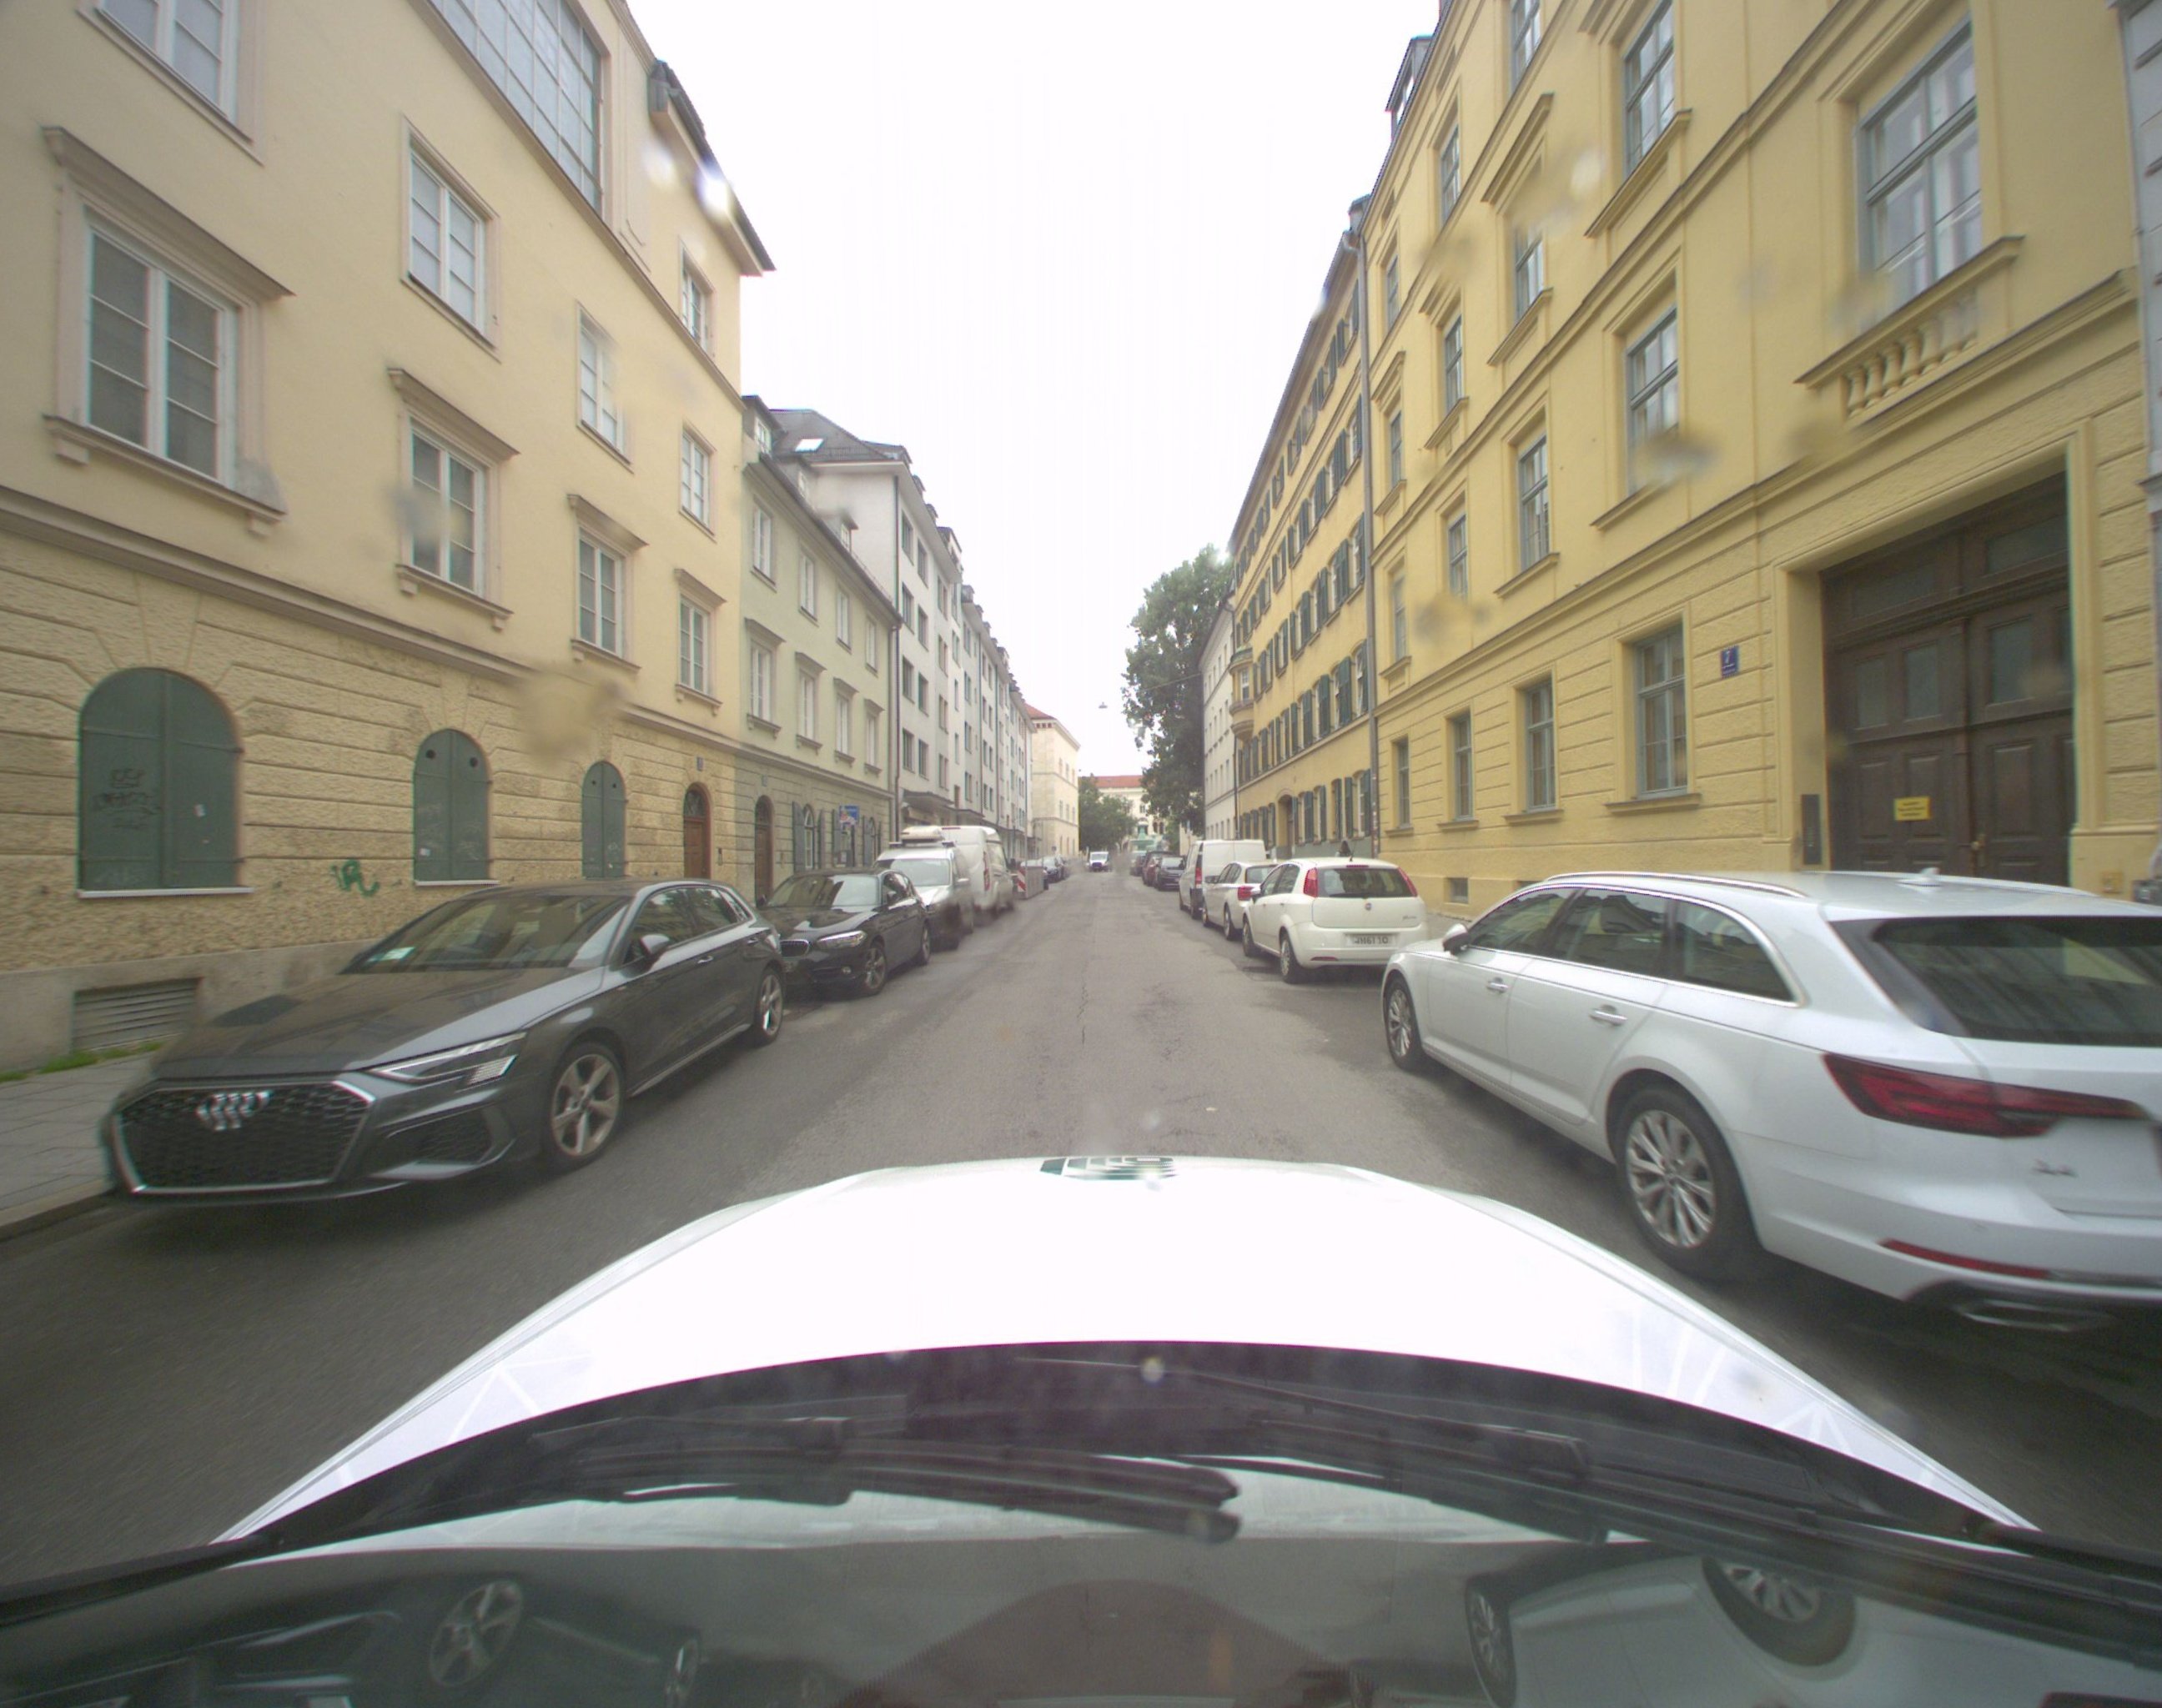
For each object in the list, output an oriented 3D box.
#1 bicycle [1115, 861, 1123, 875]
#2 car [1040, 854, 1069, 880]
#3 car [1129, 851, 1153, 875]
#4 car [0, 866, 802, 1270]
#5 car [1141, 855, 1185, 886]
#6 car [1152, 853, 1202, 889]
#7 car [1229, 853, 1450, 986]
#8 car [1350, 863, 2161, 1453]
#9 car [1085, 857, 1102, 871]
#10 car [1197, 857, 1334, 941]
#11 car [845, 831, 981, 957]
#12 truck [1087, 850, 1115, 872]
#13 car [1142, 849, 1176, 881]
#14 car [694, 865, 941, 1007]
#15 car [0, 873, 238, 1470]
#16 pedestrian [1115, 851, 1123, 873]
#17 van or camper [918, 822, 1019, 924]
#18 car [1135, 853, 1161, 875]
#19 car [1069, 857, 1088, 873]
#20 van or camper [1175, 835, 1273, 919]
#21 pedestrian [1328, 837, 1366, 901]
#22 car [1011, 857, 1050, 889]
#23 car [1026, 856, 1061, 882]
[{"bbox_3d":[3.061,1.095,65.541,0.673,1.095,1.761,-1,-1,3],"label":"bicycle"},{"bbox_3d":[-1.740,0.874,54.641,1.700,1.609,3.863,-2,0,1],"label":"car"},{"bbox_3d":[4.964,0.719,67.732,1.844,1.919,4.772,-1,-1,3],"label":"car"},{"bbox_3d":[-3.392,0.862,5.265,1.811,1.441,4.129,-2,0,-2],"label":"car"},{"bbox_3d":[4.074,0.806,40.933,1.806,1.425,4.246,0,0,0],"label":"car"},{"bbox_3d":[4.114,0.715,35.424,1.805,1.465,4.248,0,0,2],"label":"car"},{"bbox_3d":[3.233,0.732,11.062,1.702,1.454,4.096,0,0,0],"label":"car"},{"bbox_3d":[3.018,0.774,4.402,1.701,1.408,4.817,0,0,2],"label":"car"},{"bbox_3d":[1.523,1.220,97.154,1.699,1.581,3.867,-2,0,4],"label":"car"},{"bbox_3d":[3.398,0.770,15.778,1.702,1.392,4.206,0,0,0],"label":"car"},{"bbox_3d":[-2.974,0.654,15.367,1.750,1.995,4.621,0,0,-2],"label":"car"},{"bbox_3d":[2.257,0.807,89.468,2.108,2.247,6.201,-1,-1,10],"label":"truck"},{"bbox_3d":[4.544,0.632,47.864,1.804,1.797,4.249,0,-1,3],"label":"car"},{"bbox_3d":[-3.043,0.860,10.359,1.748,1.409,4.103,0,0,1],"label":"car"},{"bbox_3d":[-3.593,0.804,0.518,1.749,1.496,4.199,0,0,-1],"label":"car"},{"bbox_3d":[3.051,0.656,65.575,0.639,1.714,0.843,-1,-2,2],"label":"pedestrian"},{"bbox_3d":[-2.713,0.443,20.888,1.748,2.281,5.274,0,0,1],"label":"van or camper"},{"bbox_3d":[5.016,0.736,61.775,1.804,1.614,4.158,-1,-1,2],"label":"car"},{"bbox_3d":[-0.277,1.169,88.622,1.699,1.581,3.867,-2,0,4],"label":"car"},{"bbox_3d":[3.515,0.526,20.932,1.826,1.872,5.081,0,0,2],"label":"van or camper"},{"bbox_3d":[6.793,0.389,20.825,0.658,1.571,0.642,-4,-2,1],"label":"pedestrian"},{"bbox_3d":[-2.486,0.905,39.308,1.759,1.410,4.147,-2,0,-5],"label":"car"},{"bbox_3d":[-2.226,0.886,49.129,1.811,1.444,3.819,-2,0,1],"label":"car"}]
